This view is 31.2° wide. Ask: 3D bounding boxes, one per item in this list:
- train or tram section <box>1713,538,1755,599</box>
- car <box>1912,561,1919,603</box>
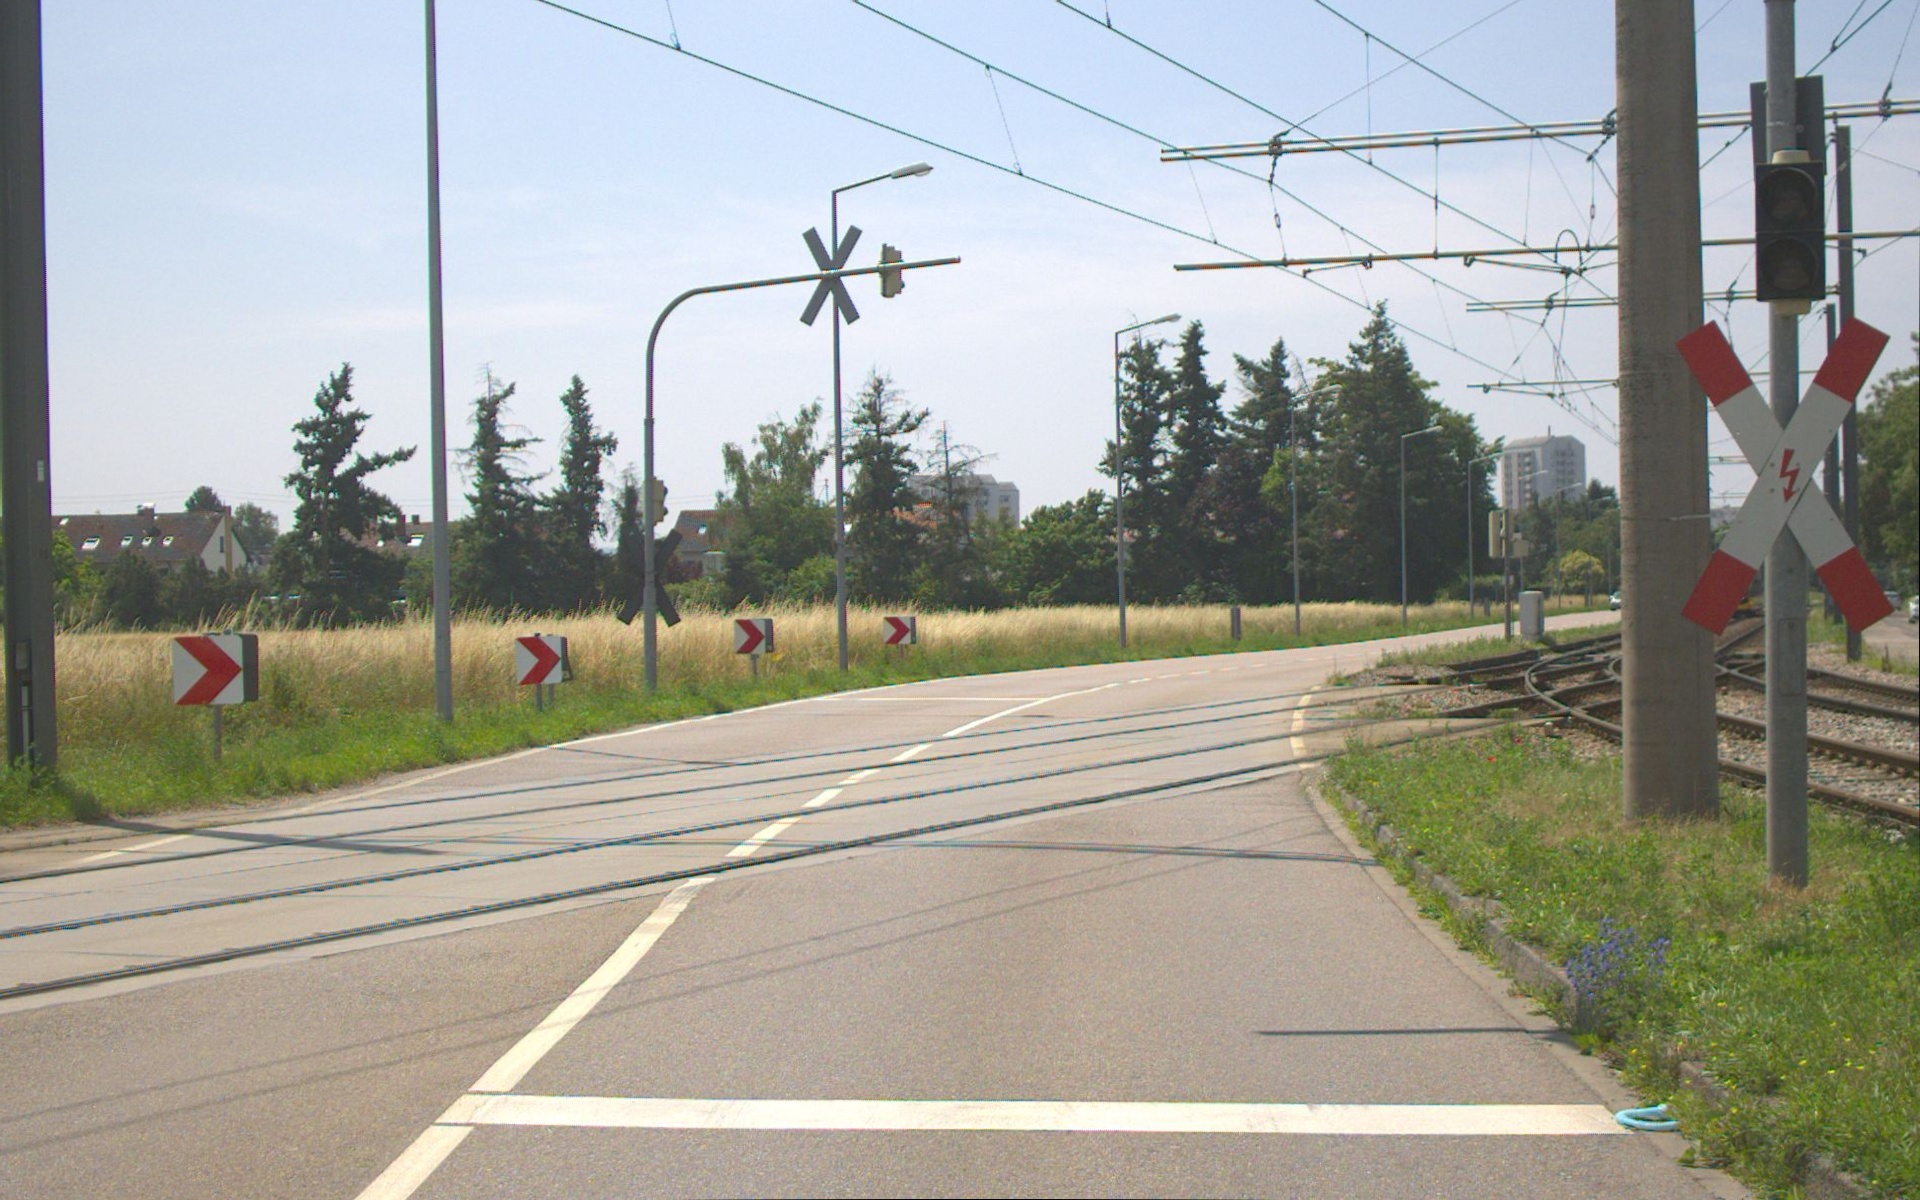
[{"bbox_3d":[50.827,-2.030,225.590,2.430,3.753,11.551,-1,-1,14],"label":"train or tram section"},{"bbox_3d":[43.915,-0.817,154.473,1.995,1.796,4.791,-1,-1,14],"label":"car"}]
